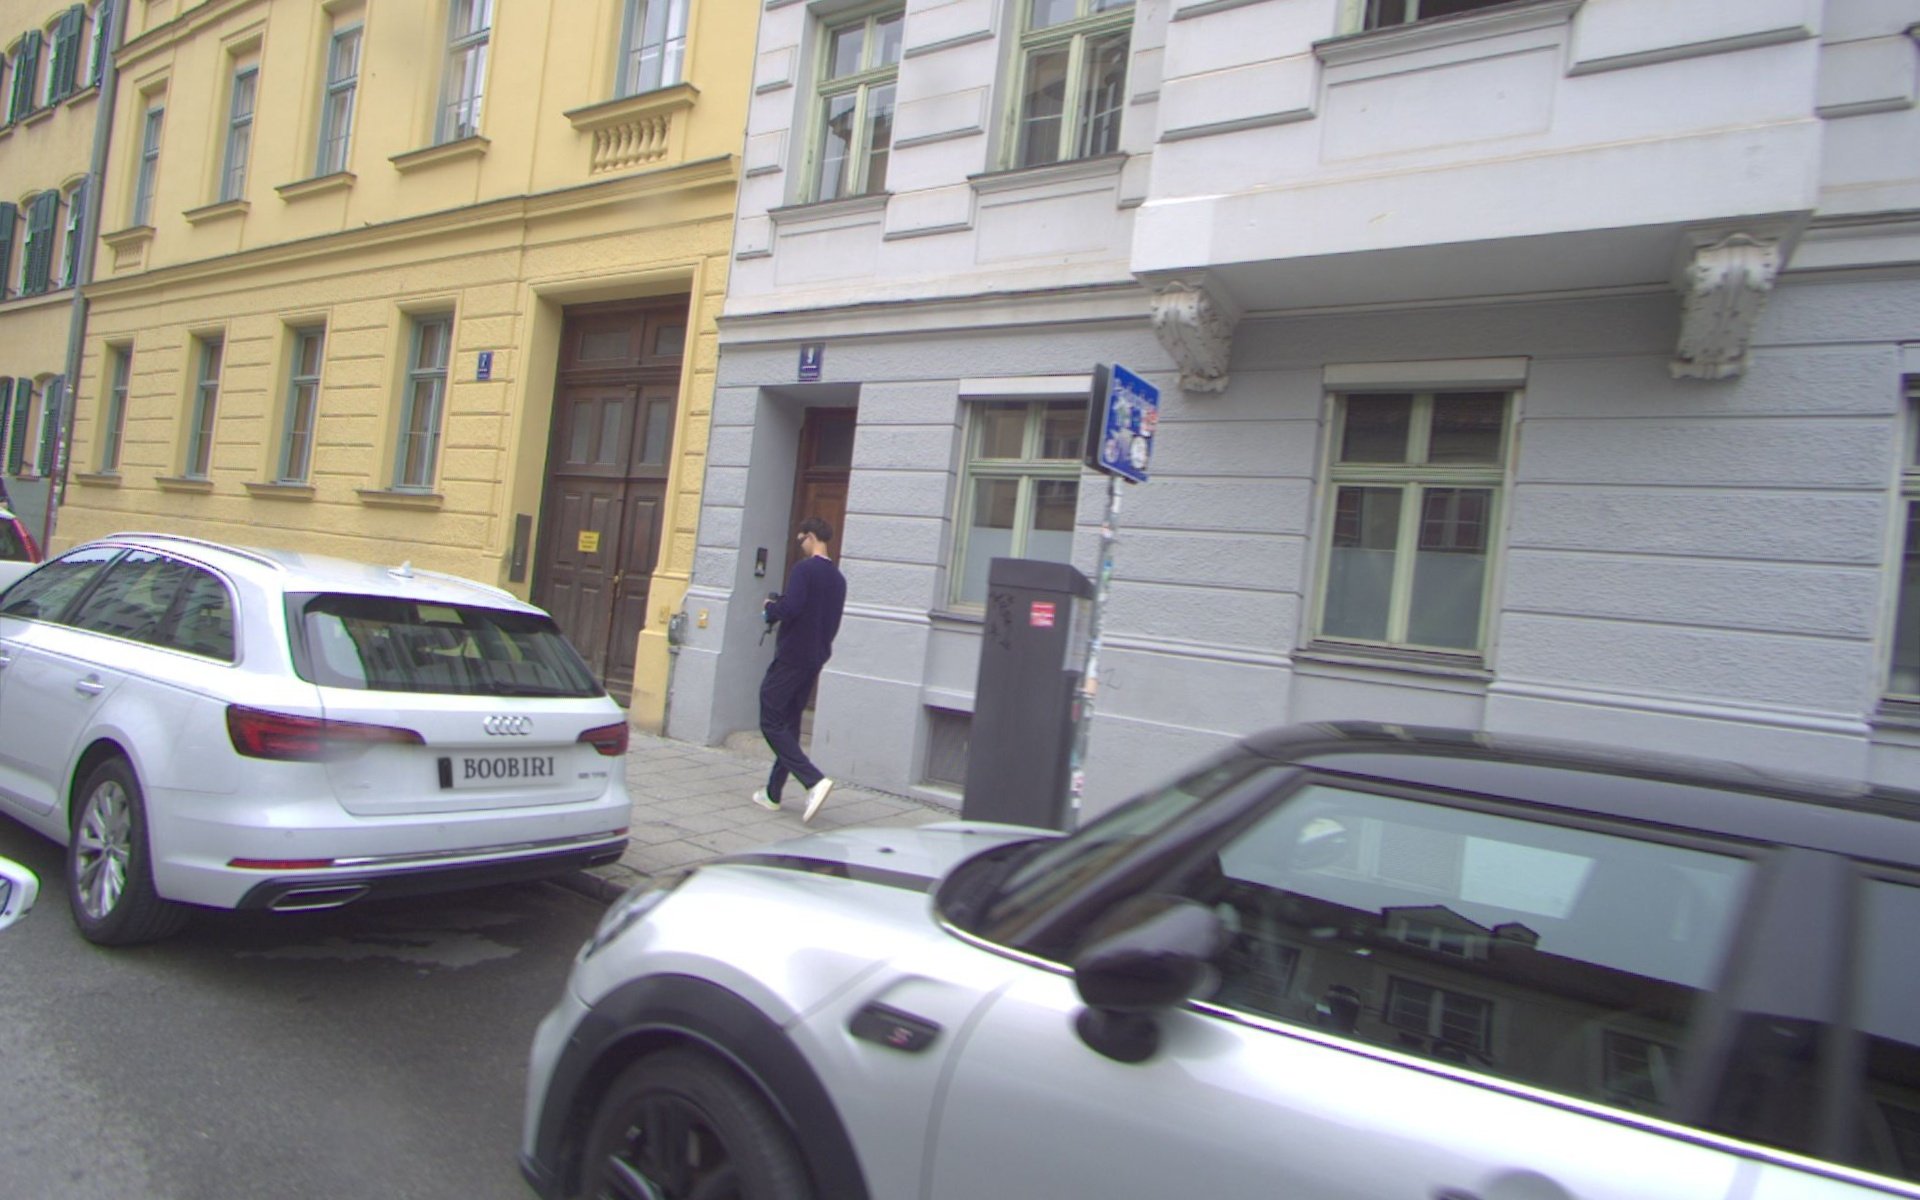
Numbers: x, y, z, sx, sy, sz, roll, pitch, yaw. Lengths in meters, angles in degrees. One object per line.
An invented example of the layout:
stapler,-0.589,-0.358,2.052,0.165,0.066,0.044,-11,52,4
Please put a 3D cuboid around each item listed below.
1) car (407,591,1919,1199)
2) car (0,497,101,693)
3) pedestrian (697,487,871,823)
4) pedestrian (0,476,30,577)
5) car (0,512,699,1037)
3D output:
car,1.073,0.971,1.903,4.136,1.421,1.712,6,-2,30
car,-9.181,-0.262,8.382,4.027,1.471,1.712,6,-2,30
pedestrian,-1.124,0.325,6.463,0.697,2.006,0.669,6,2,32
pedestrian,-15.624,-1.211,16.266,0.632,1.592,0.661,6,2,31
car,-3.659,0.430,4.928,4.735,1.425,1.711,6,-2,32
